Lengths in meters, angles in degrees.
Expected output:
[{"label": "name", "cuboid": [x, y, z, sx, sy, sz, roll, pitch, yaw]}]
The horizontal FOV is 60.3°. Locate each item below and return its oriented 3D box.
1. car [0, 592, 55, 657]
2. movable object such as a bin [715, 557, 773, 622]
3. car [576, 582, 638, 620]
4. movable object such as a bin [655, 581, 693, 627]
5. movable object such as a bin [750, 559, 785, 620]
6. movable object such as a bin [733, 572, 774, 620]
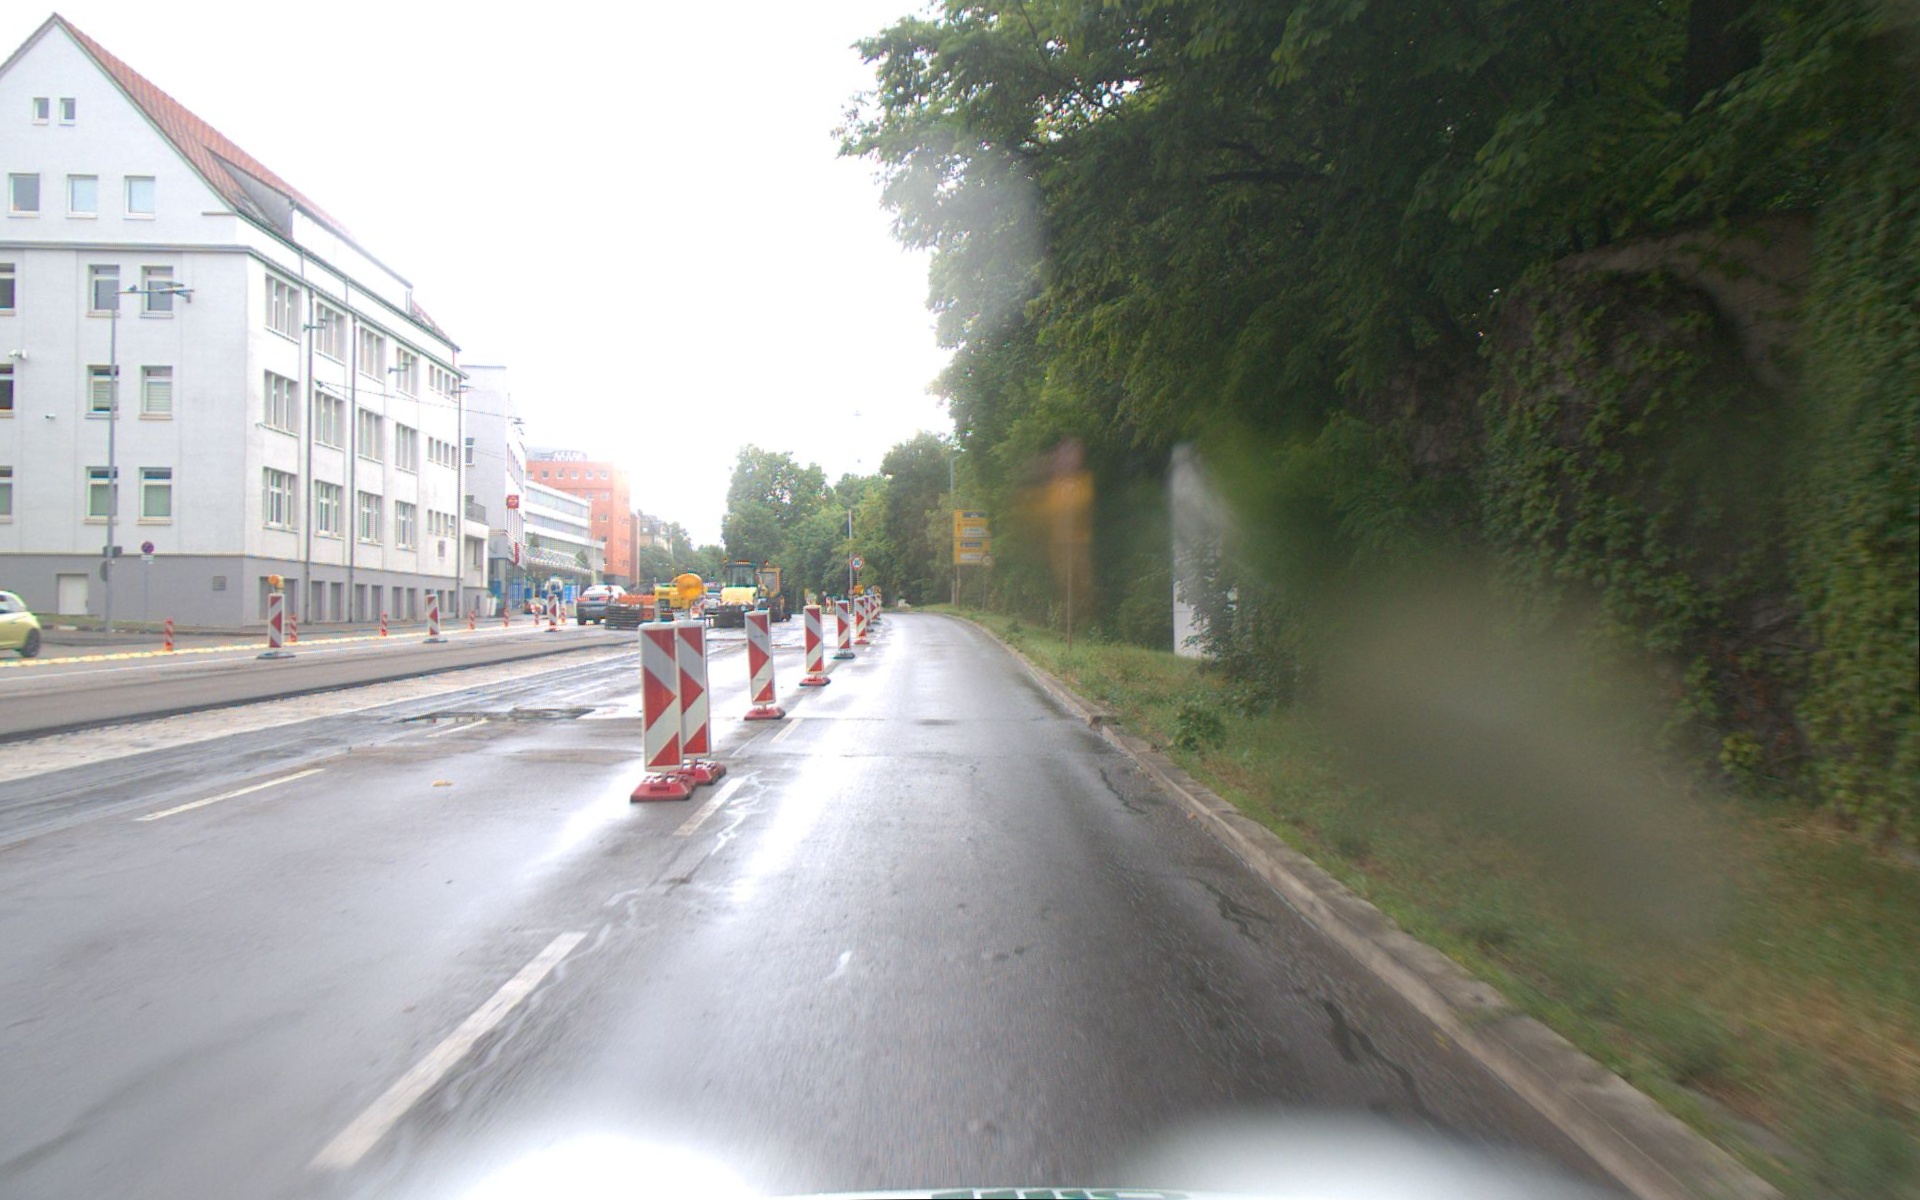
[{"label": "car", "cuboid": [-21.092, 0.536, 35.310, 1.522, 1.392, 3.803, -1, 0, -2]}, {"label": "movable object such as a bin", "cuboid": [-9.164, -0.429, 70.428, 1.863, 2.655, 5.381, 0, 0, -1]}, {"label": "car", "cuboid": [-15.886, 0.047, 74.683, 1.854, 1.679, 4.395, 1, 0, 0]}, {"label": "movable object such as a bin", "cuboid": [-10.693, 0.151, 61.972, 1.061, 1.673, 2.438, 0, 0, -2]}, {"label": "movable object such as a bin", "cuboid": [-9.910, -0.544, 85.436, 1.436, 3.061, 3.722, -2, 0, -3]}, {"label": "movable object such as a bin", "cuboid": [-9.409, -0.193, 75.728, 1.335, 2.126, 5.028, 0, 0, -1]}]
